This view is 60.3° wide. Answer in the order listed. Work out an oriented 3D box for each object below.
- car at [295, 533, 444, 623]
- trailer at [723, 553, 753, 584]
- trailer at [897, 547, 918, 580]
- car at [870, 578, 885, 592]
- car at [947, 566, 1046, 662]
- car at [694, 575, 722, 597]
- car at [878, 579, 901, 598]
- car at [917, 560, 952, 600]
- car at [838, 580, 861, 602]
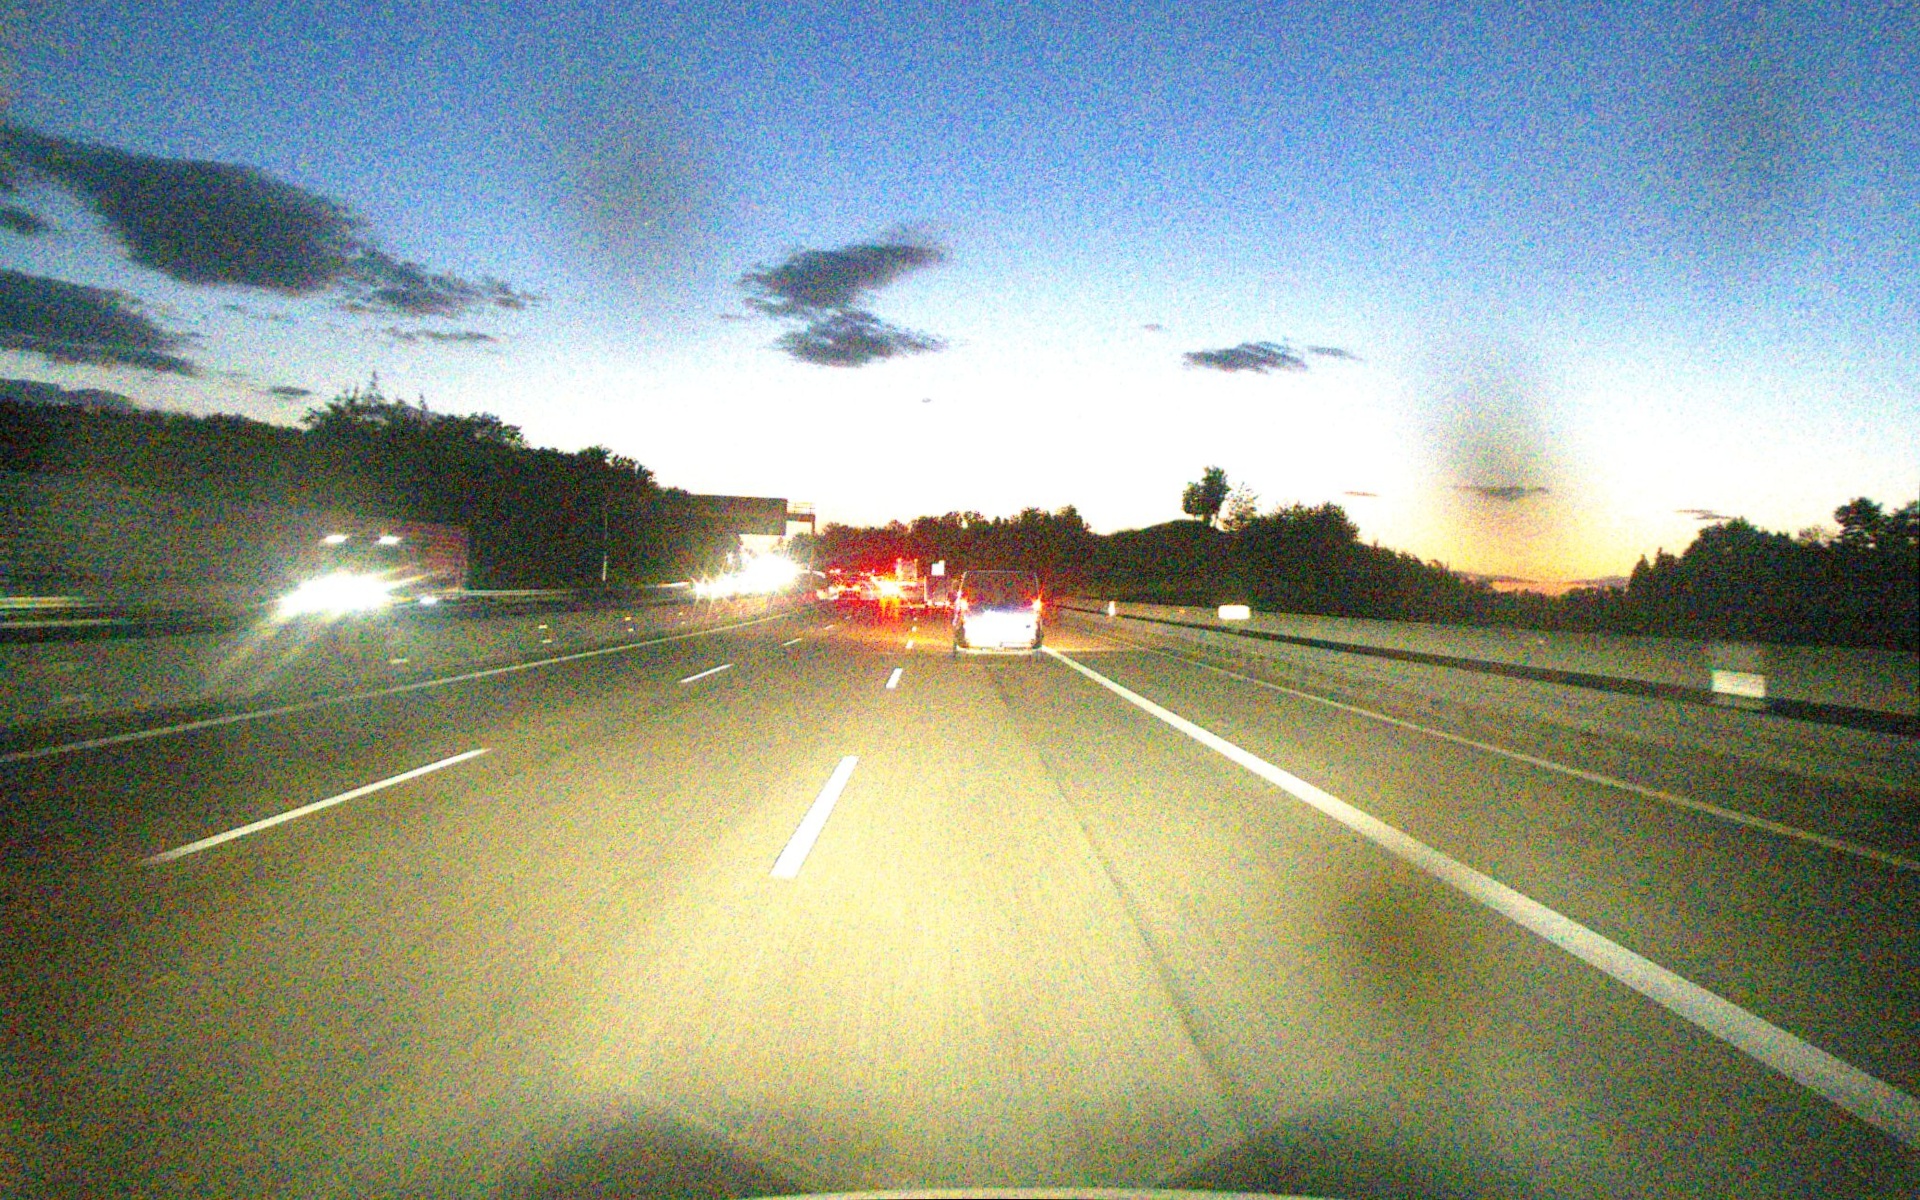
[{"bbox_3d":[-22.090,-0.841,62.362,2.597,3.139,8.215,1,1,0],"label":"car"},{"bbox_3d":[-29.714,-4.208,221.802,3.361,4.049,7.349,1,1,-3],"label":"trailer"},{"bbox_3d":[-7.864,-5.394,245.543,2.773,4.331,17.037,1,-1,-3],"label":"trailer"},{"bbox_3d":[-11.146,-2.067,223.308,1.954,1.825,3.996,1,-1,-4],"label":"car"},{"bbox_3d":[0.760,0.263,38.390,2.072,2.035,5.663,1,1,-1],"label":"car"},{"bbox_3d":[-21.264,-1.167,139.837,1.786,1.724,4.671,1,-1,-2],"label":"car"},{"bbox_3d":[-7.038,-1.107,165.049,1.956,1.825,3.993,1,-1,-7],"label":"car"},{"bbox_3d":[-1.809,-1.398,115.595,1.993,2.693,5.719,1,1,-5],"label":"car"},{"bbox_3d":[-9.617,-0.785,144.016,1.954,1.848,3.997,1,-1,-3],"label":"car"}]
